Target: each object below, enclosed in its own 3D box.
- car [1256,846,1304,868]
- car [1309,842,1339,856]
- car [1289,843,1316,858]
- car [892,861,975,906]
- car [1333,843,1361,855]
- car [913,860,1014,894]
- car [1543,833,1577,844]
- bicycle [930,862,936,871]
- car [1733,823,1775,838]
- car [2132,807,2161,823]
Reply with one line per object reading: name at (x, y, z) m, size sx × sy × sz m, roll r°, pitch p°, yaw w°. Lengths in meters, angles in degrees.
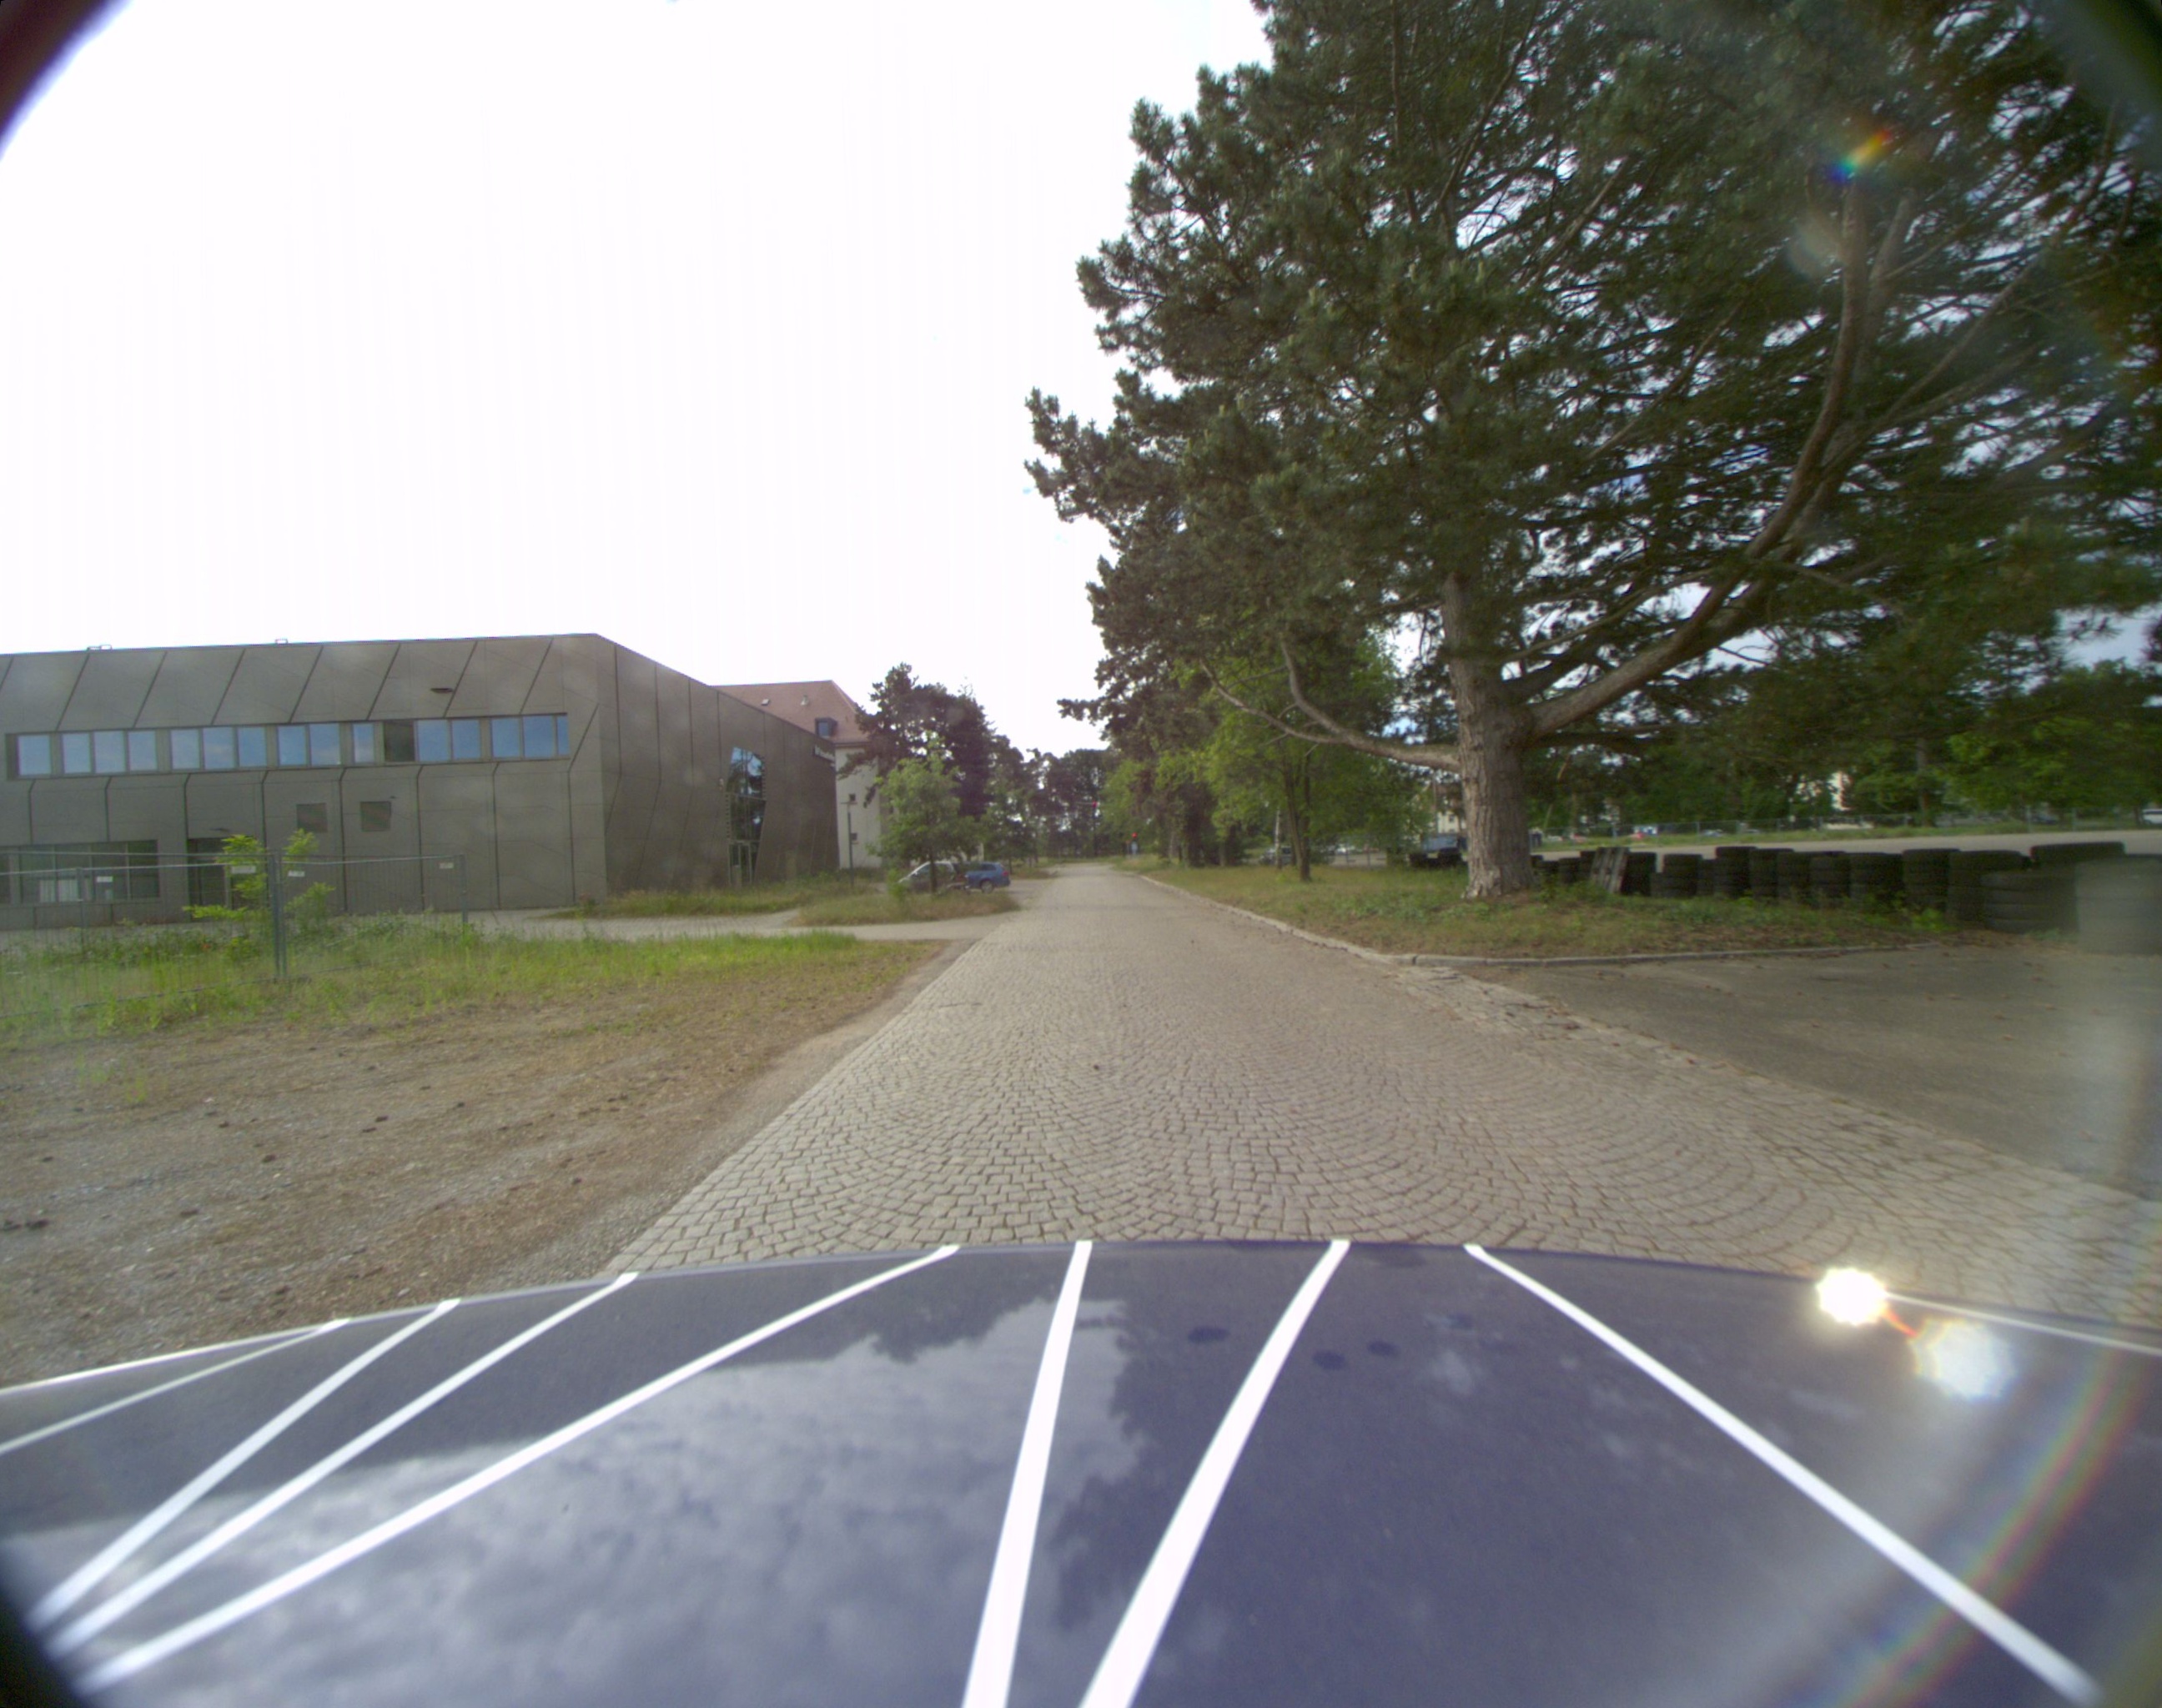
car at (13.132, 0.213, 50.322) m, size 1.829 × 1.408 × 4.420 m, roll 0°, pitch 0°, yaw -3°
car at (28.229, -0.551, 88.274) m, size 1.829 × 1.466 × 4.401 m, roll -2°, pitch 0°, yaw -3°
car at (25.585, -0.435, 87.840) m, size 1.674 × 1.510 × 3.899 m, roll -3°, pitch -2°, yaw -3°
car at (-5.476, 1.077, 28.423) m, size 2.716 × 1.547 × 1.654 m, roll -1°, pitch 0°, yaw 2°
car at (31.022, -0.581, 88.782) m, size 1.637 × 1.391 × 4.036 m, roll -2°, pitch 0°, yaw -3°
car at (-5.471, 1.068, 35.772) m, size 4.503 × 1.466 × 1.830 m, roll -1°, pitch 0°, yaw -3°
car at (62.642, -2.020, 99.441) m, size 1.711 × 1.343 × 4.402 m, roll -2°, pitch 0°, yaw -1°
bicycle at (-18.584, 1.589, 95.414) m, size 0.476 × 1.121 × 1.656 m, roll -2°, pitch 0°, yaw -1°
car at (88.012, -3.036, 99.398) m, size 1.828 × 1.712 × 4.585 m, roll -2°, pitch 0°, yaw 8°
car at (136.659, -4.986, 95.976) m, size 1.829 × 1.712 × 4.290 m, roll -5°, pitch 0°, yaw 1°
